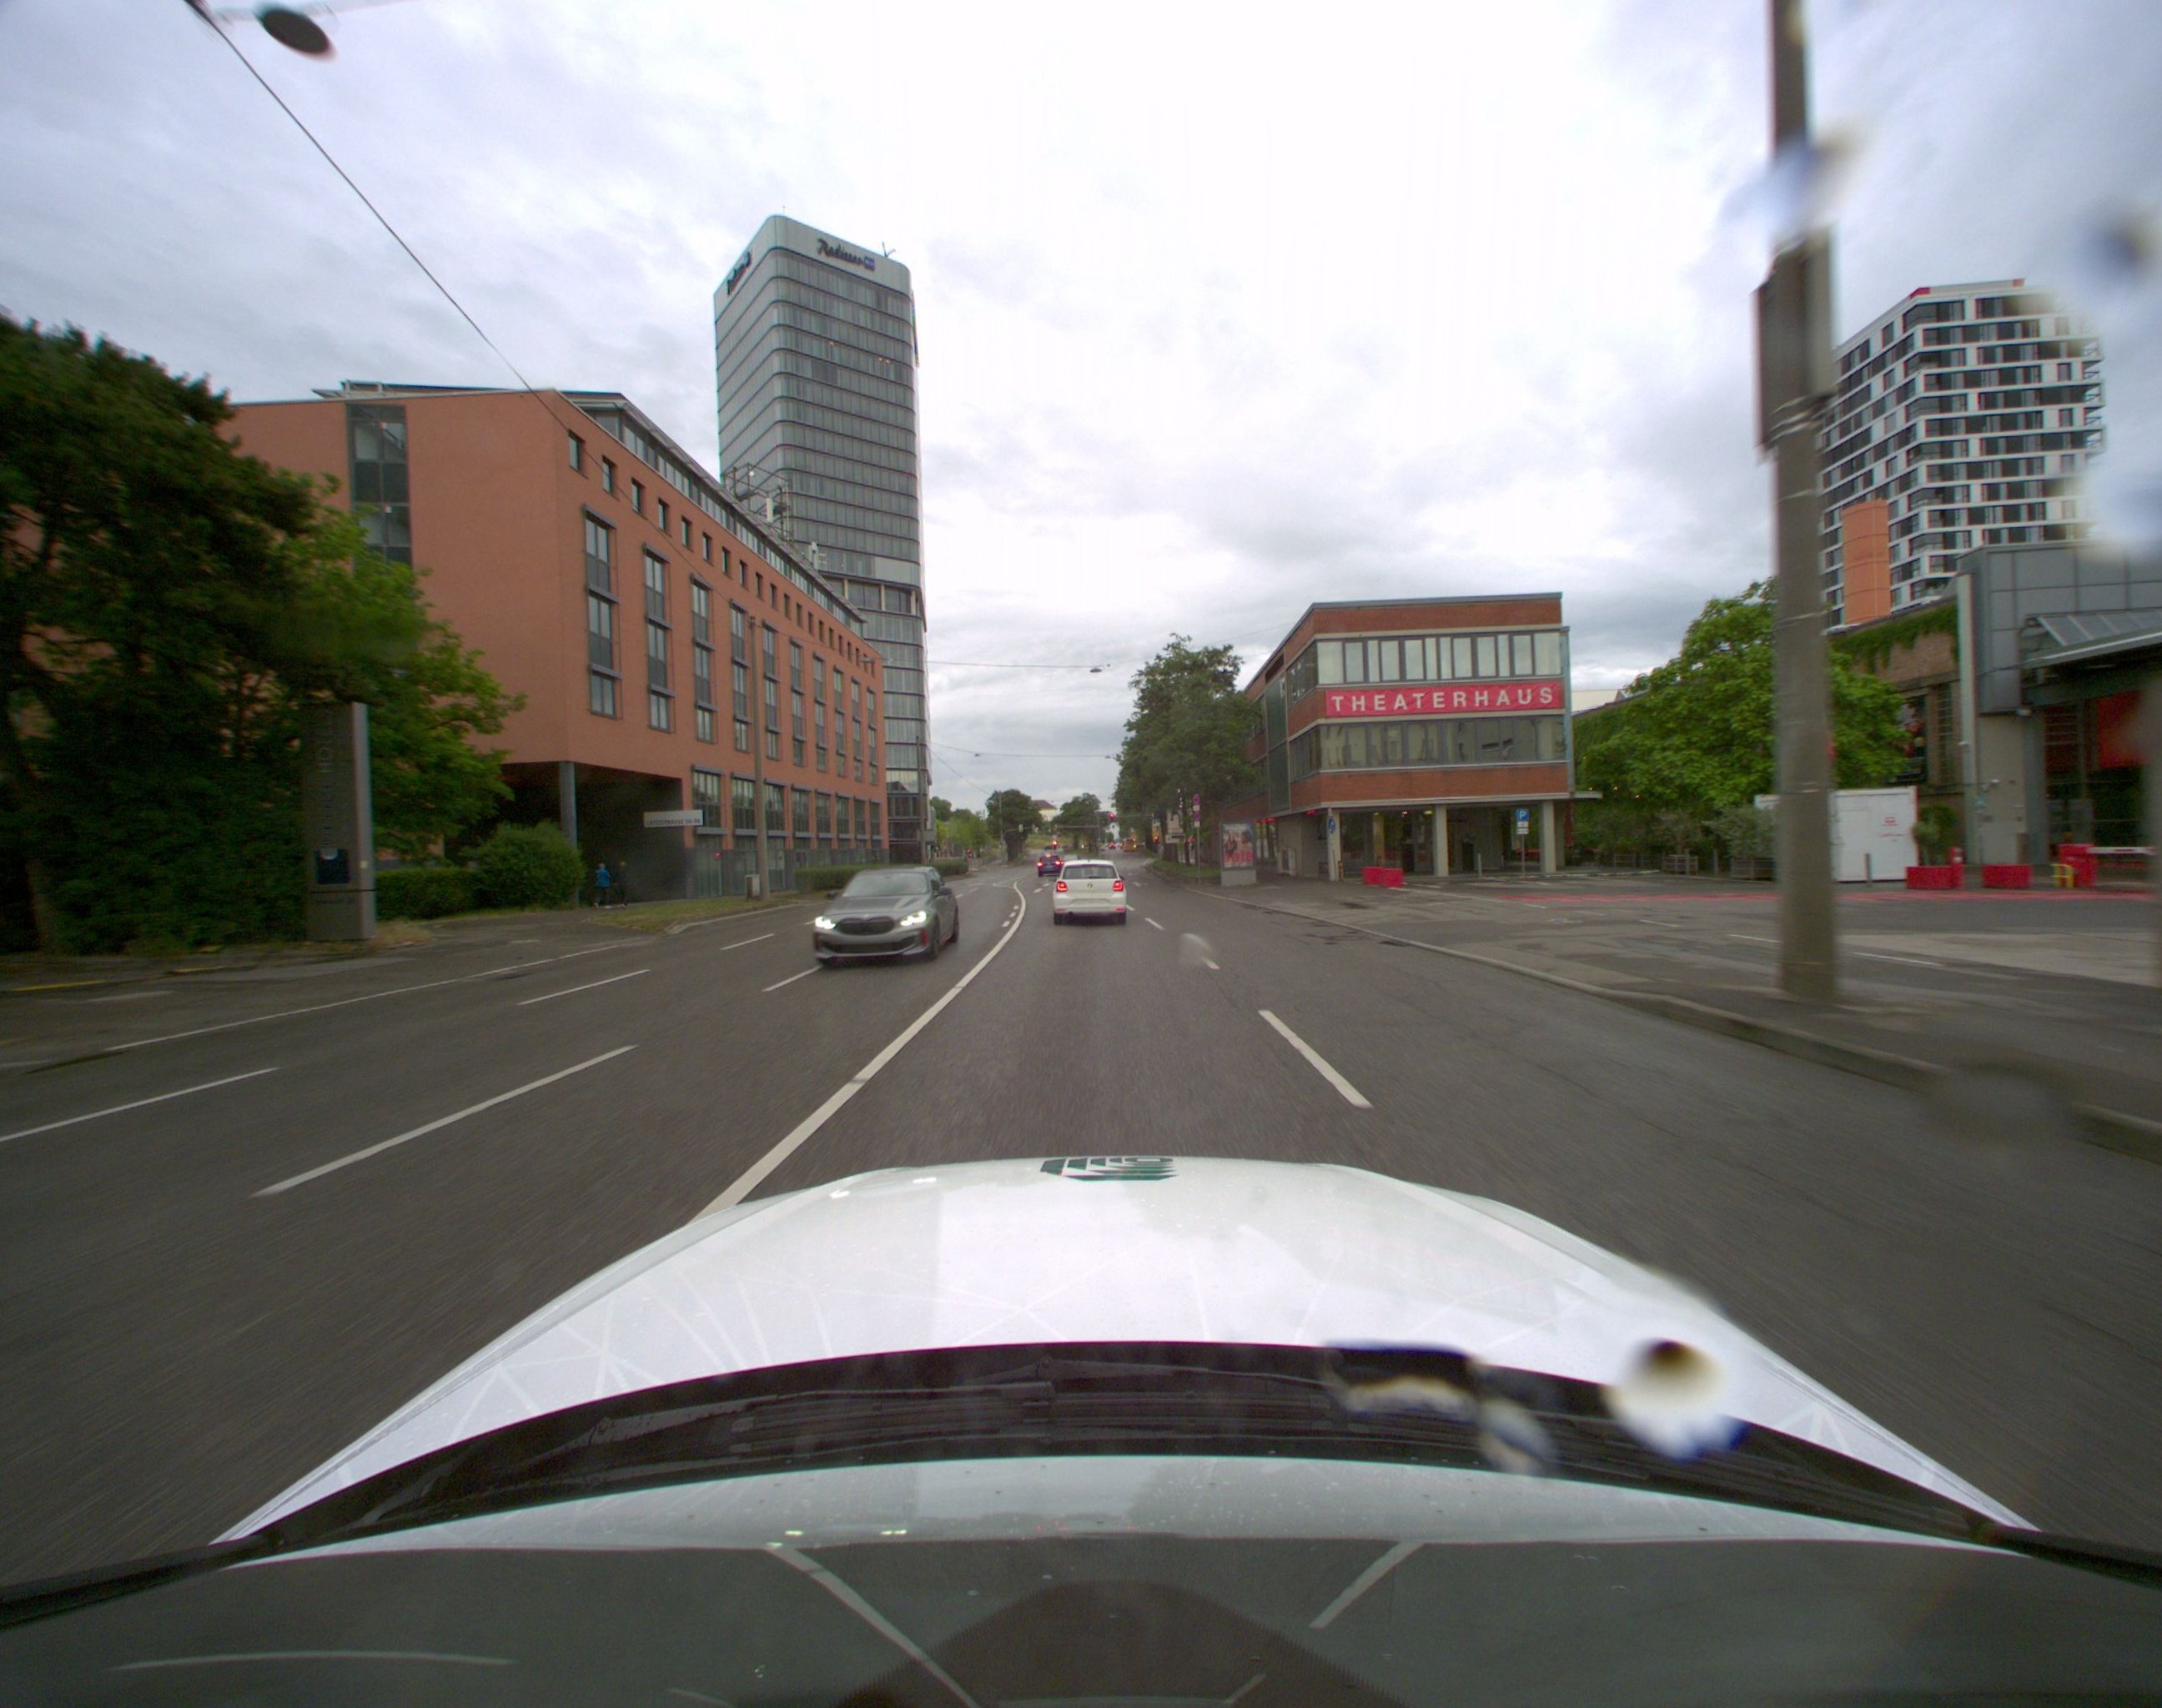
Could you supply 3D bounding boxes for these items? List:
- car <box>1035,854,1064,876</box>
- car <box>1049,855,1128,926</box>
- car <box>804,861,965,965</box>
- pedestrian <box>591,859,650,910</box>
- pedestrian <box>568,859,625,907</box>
[{"bbox_3d":[-2.418,0.794,62.938,1.987,1.574,3.999,-3,0,0],"label":"car"},{"bbox_3d":[0.135,0.785,19.619,1.666,1.474,3.777,-2,0,-1],"label":"car"},{"bbox_3d":[-3.068,0.852,13.564,1.707,1.365,3.998,-3,0,-1],"label":"car"},{"bbox_3d":[-17.737,1.156,31.382,1.310,1.823,1.440,-5,-2,2],"label":"pedestrian"},{"bbox_3d":[-18.600,1.111,31.297,1.201,1.679,1.420,-5,-2,2],"label":"pedestrian"}]
